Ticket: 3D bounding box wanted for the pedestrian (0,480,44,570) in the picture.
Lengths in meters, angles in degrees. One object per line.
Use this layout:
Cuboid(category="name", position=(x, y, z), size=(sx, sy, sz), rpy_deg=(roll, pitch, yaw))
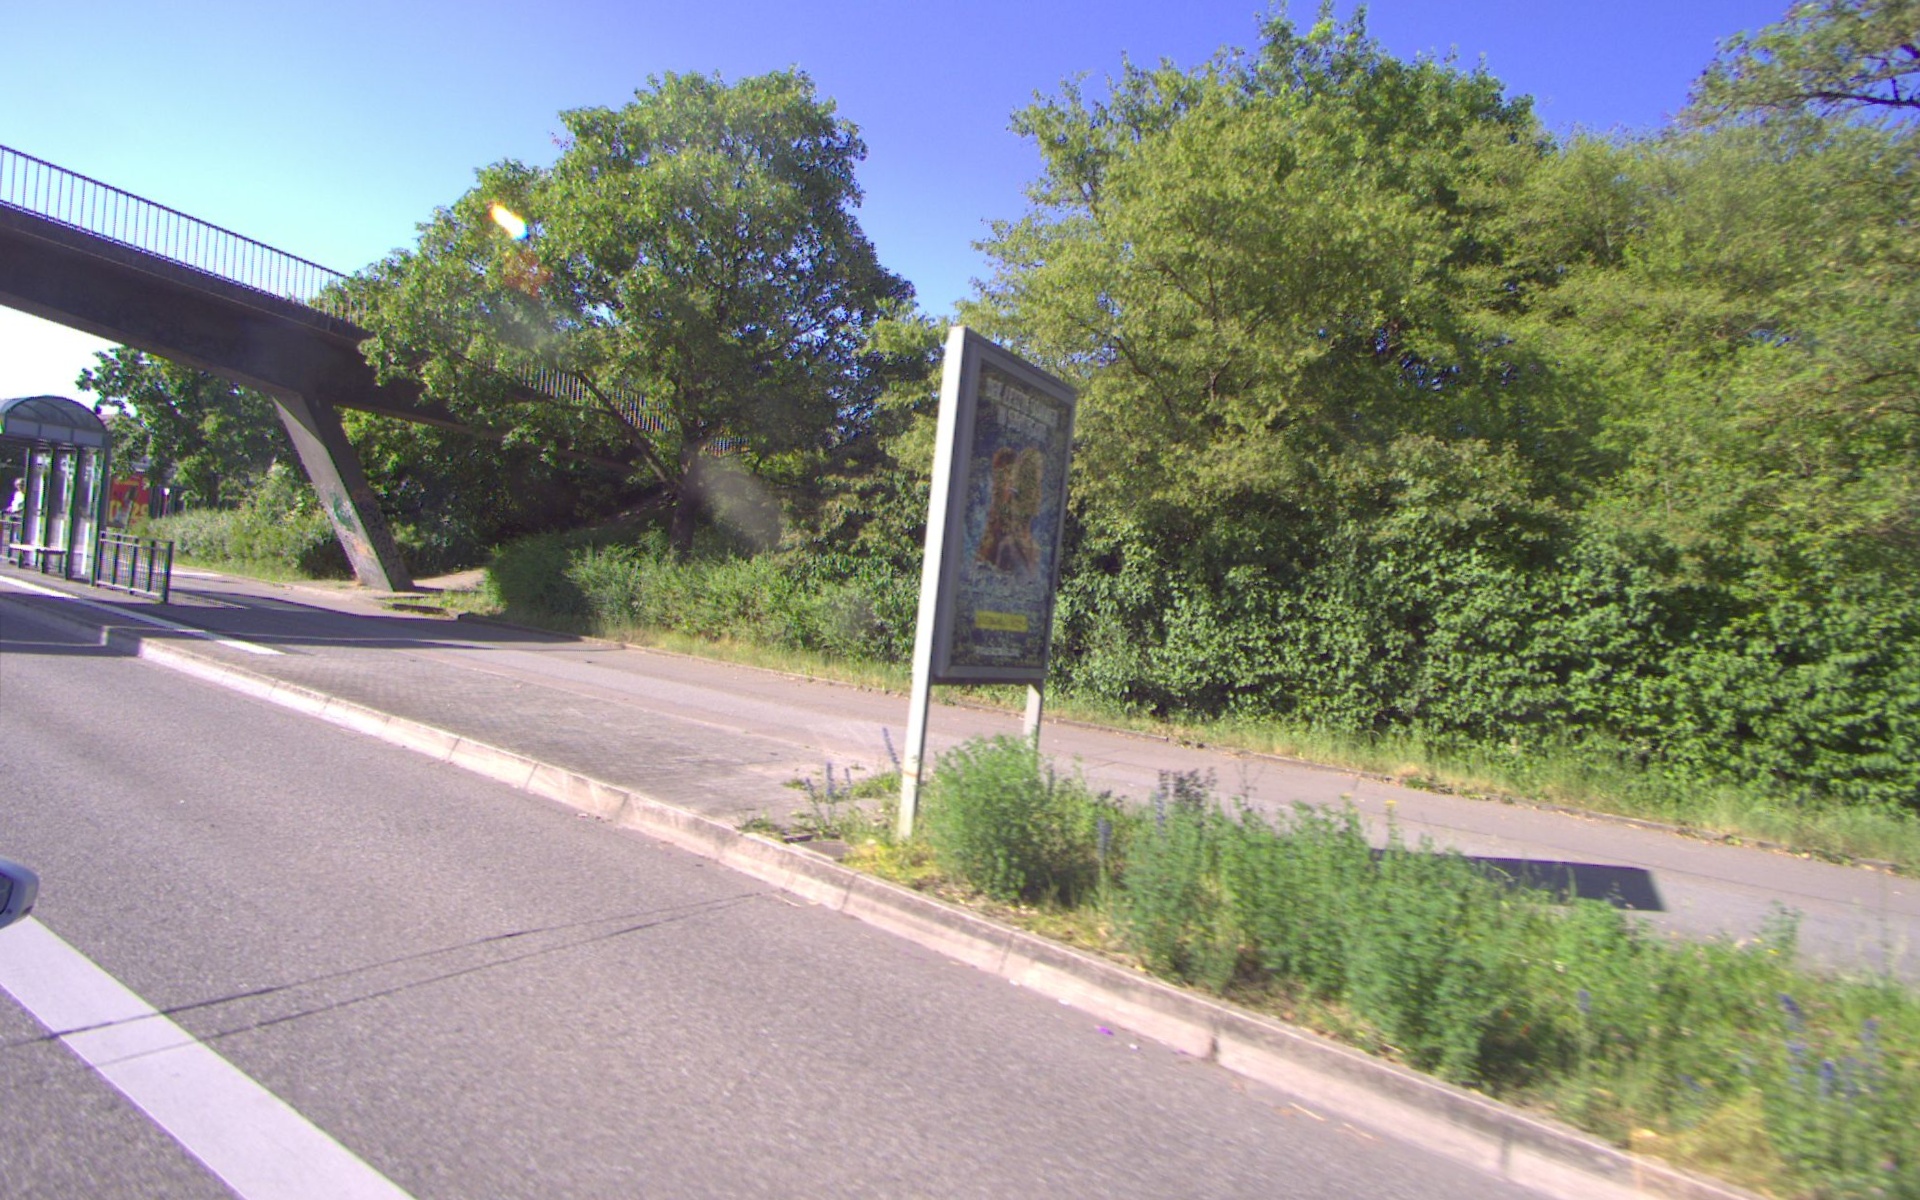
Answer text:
Cuboid(category="pedestrian", position=(-18.784, -1.490, 19.975), size=(0.705, 1.682, 0.588), rpy_deg=(7, 0, 31))
